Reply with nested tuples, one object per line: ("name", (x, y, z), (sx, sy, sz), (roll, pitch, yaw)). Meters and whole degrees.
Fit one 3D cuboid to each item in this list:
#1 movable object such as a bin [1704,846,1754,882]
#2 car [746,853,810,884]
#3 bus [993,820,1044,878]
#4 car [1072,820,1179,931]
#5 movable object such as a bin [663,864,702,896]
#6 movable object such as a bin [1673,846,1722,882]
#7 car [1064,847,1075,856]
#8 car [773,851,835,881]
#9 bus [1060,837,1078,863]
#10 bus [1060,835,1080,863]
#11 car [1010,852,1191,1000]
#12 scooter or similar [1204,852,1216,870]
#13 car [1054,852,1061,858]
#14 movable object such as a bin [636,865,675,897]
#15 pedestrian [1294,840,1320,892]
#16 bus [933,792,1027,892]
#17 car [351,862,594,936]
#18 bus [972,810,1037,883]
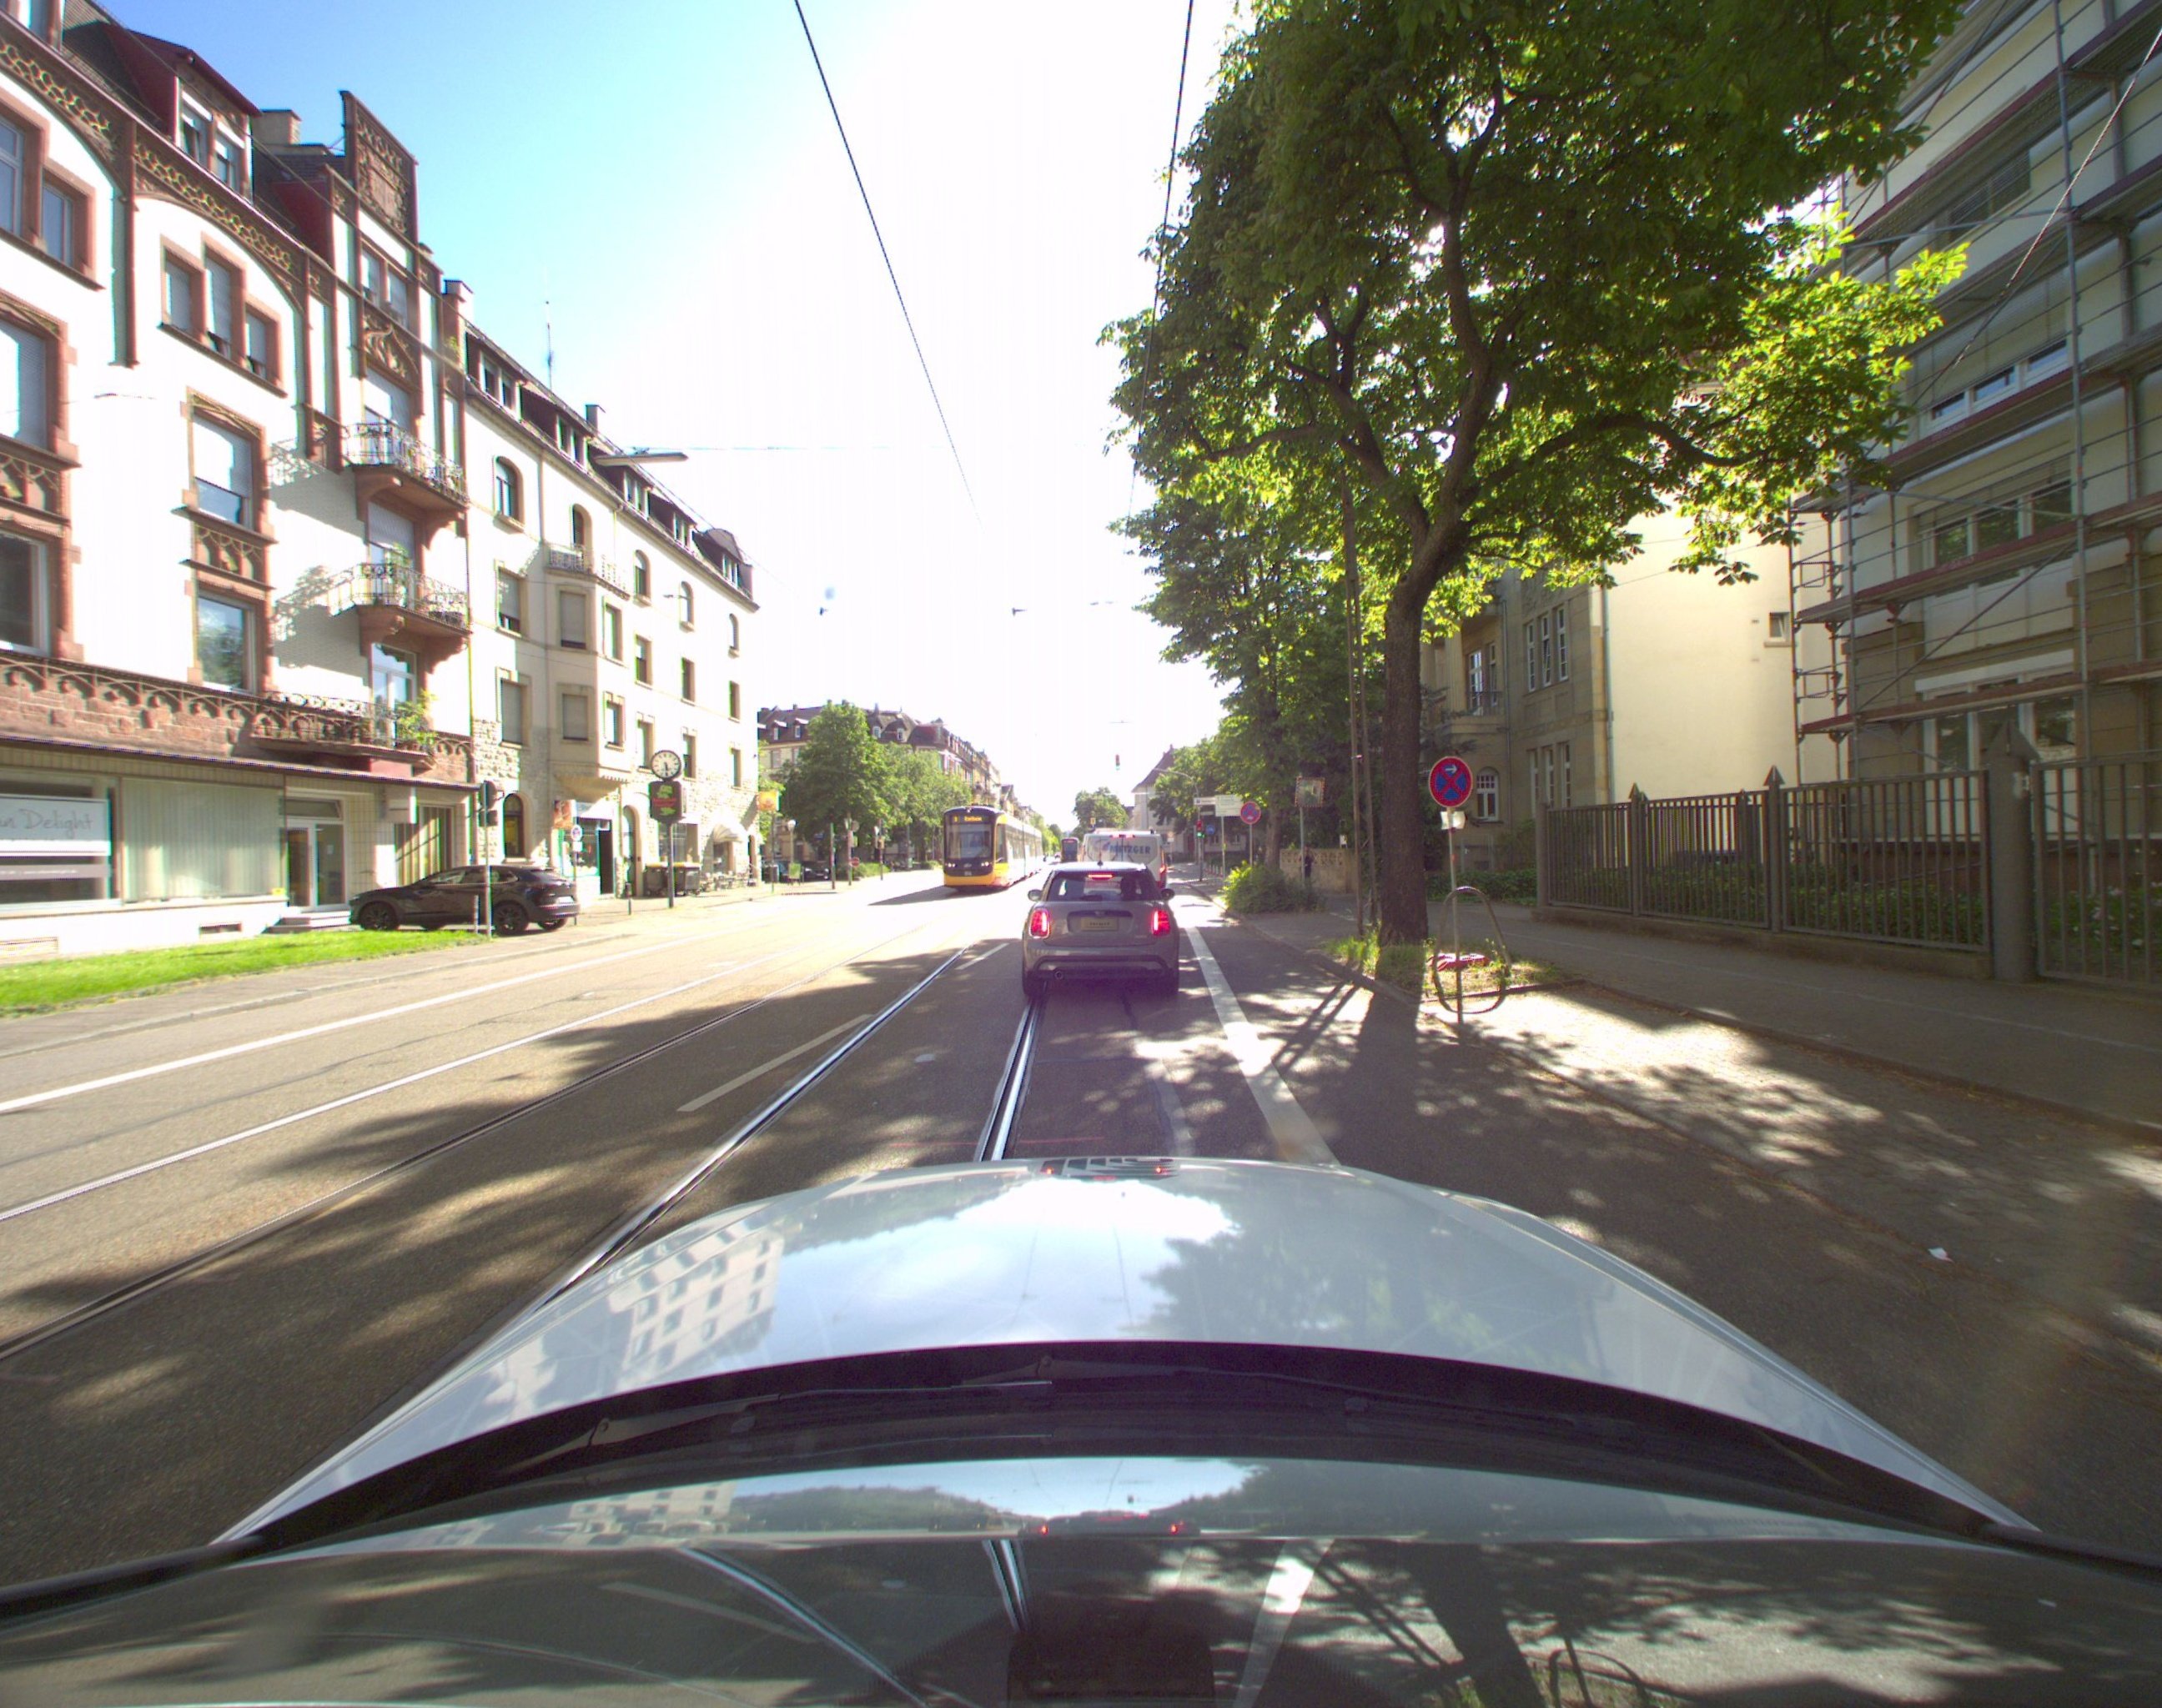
("movable object such as a bin", (17.540, 0.270, 22.049), (0.831, 0.955, 0.648), (0, -1, 0))
("car", (-20.553, 0.990, 55.194), (3.949, 2.014, 2.012), (-1, -1, 30))
("bus", (-4.359, -0.305, 59.494), (2.841, 3.777, 12.193), (0, 0, 0))
("car", (0.972, 0.447, 18.805), (2.110, 2.208, 4.946), (0, -1, 2))
("movable object such as a bin", (-16.041, 1.047, 32.820), (0.941, 1.273, 1.145), (0, -1, 5))
("movable object such as a bin", (16.675, 0.276, 22.037), (0.831, 0.955, 0.648), (0, -1, 0))
("car", (-2.014, -0.477, 141.155), (1.859, 1.563, 3.997), (0, -1, -2))
("car", (-19.495, 0.826, 57.248), (3.949, 2.014, 2.012), (-1, -1, 30))
("bus", (-1.767, -0.549, 115.875), (2.379, 3.496, 7.377), (0, -1, -2))
("bus", (-1.481, -0.630, 108.483), (2.379, 3.496, 7.377), (0, -1, -2))
("car", (0.260, 0.743, 10.223), (1.808, 1.488, 4.001), (0, -1, 2))
("scooter or similar", (9.315, 0.496, 58.762), (0.673, 1.310, 1.329), (0, -1, 1))
("car", (-5.836, 0.271, 203.850), (1.771, 1.618, 3.997), (0, -1, -2))
("movable object such as a bin", (-16.971, 1.068, 32.514), (0.829, 1.223, 1.245), (0, -1, 4))
("pedestrian", (7.491, 0.385, 27.030), (0.590, 1.671, 0.647), (-3, -1, 1))
("bus", (-4.204, -0.414, 36.531), (2.851, 3.777, 11.494), (0, 0, -1))
("car", (-13.590, 0.990, 18.396), (3.981, 1.503, 1.768), (1, -1, -6))
("bus", (-4.261, -0.360, 47.887), (2.851, 3.777, 11.179), (0, -1, -1))
